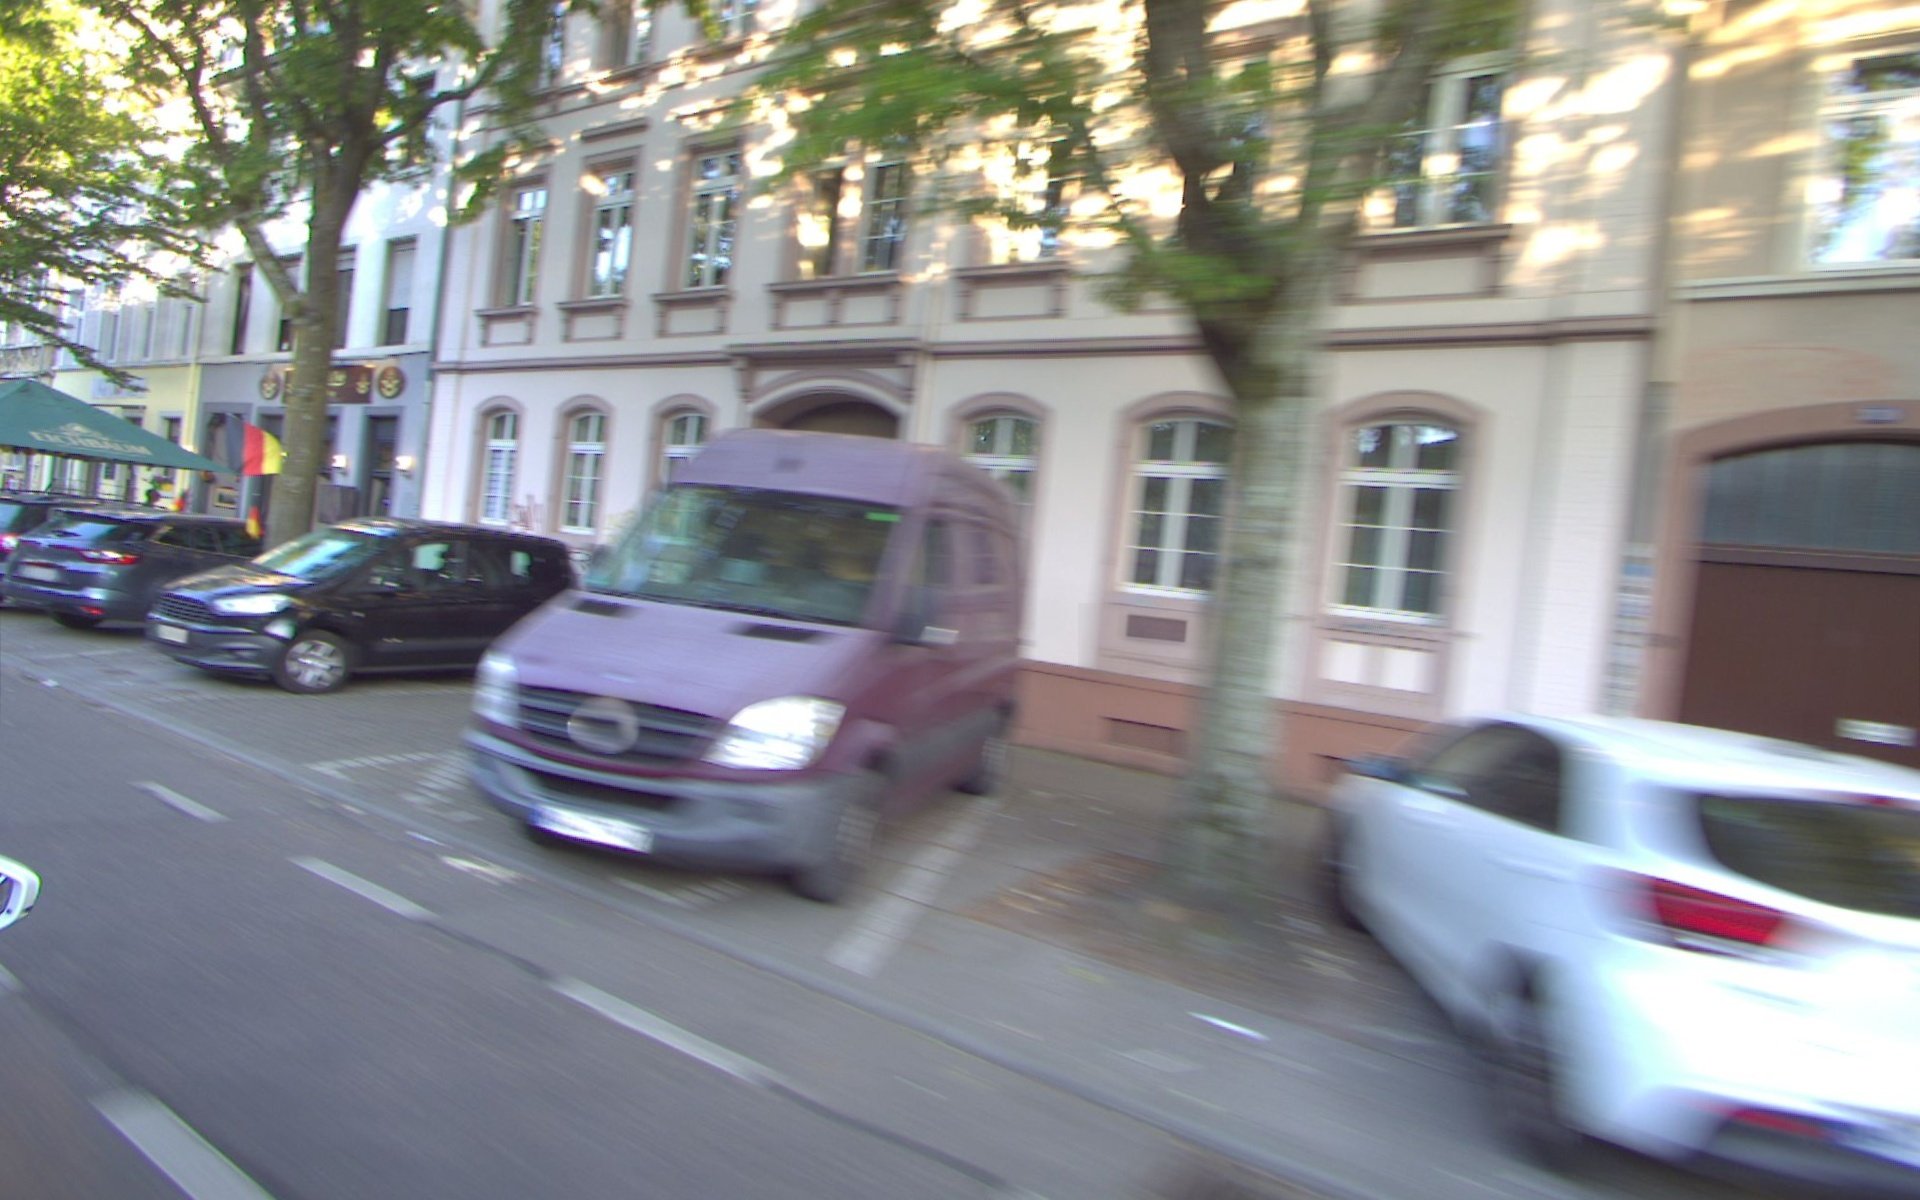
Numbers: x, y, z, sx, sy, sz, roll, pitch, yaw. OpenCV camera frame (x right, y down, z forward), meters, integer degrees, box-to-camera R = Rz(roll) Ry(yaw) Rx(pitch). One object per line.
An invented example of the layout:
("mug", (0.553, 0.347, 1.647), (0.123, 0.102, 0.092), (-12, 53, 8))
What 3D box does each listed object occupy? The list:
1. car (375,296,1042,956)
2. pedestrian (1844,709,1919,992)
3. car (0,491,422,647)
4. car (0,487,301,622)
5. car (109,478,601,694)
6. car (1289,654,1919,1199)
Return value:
("car", (-1.003, 0.091, 6.879), (1.983, 2.676, 5.111), (6, 1, 15))
("pedestrian", (5.850, 1.491, 5.882), (0.800, 1.587, 0.538), (7, 1, 33))
("car", (-9.220, -0.297, 12.566), (1.970, 1.481, 4.189), (6, 0, 16))
("car", (-11.495, -0.578, 13.608), (1.970, 1.517, 4.190), (6, 0, 7))
("car", (-6.027, -0.045, 10.600), (1.785, 1.728, 4.023), (6, 0, 25))
("car", (2.914, 1.183, 4.561), (1.884, 1.505, 3.964), (6, 0, 8))
